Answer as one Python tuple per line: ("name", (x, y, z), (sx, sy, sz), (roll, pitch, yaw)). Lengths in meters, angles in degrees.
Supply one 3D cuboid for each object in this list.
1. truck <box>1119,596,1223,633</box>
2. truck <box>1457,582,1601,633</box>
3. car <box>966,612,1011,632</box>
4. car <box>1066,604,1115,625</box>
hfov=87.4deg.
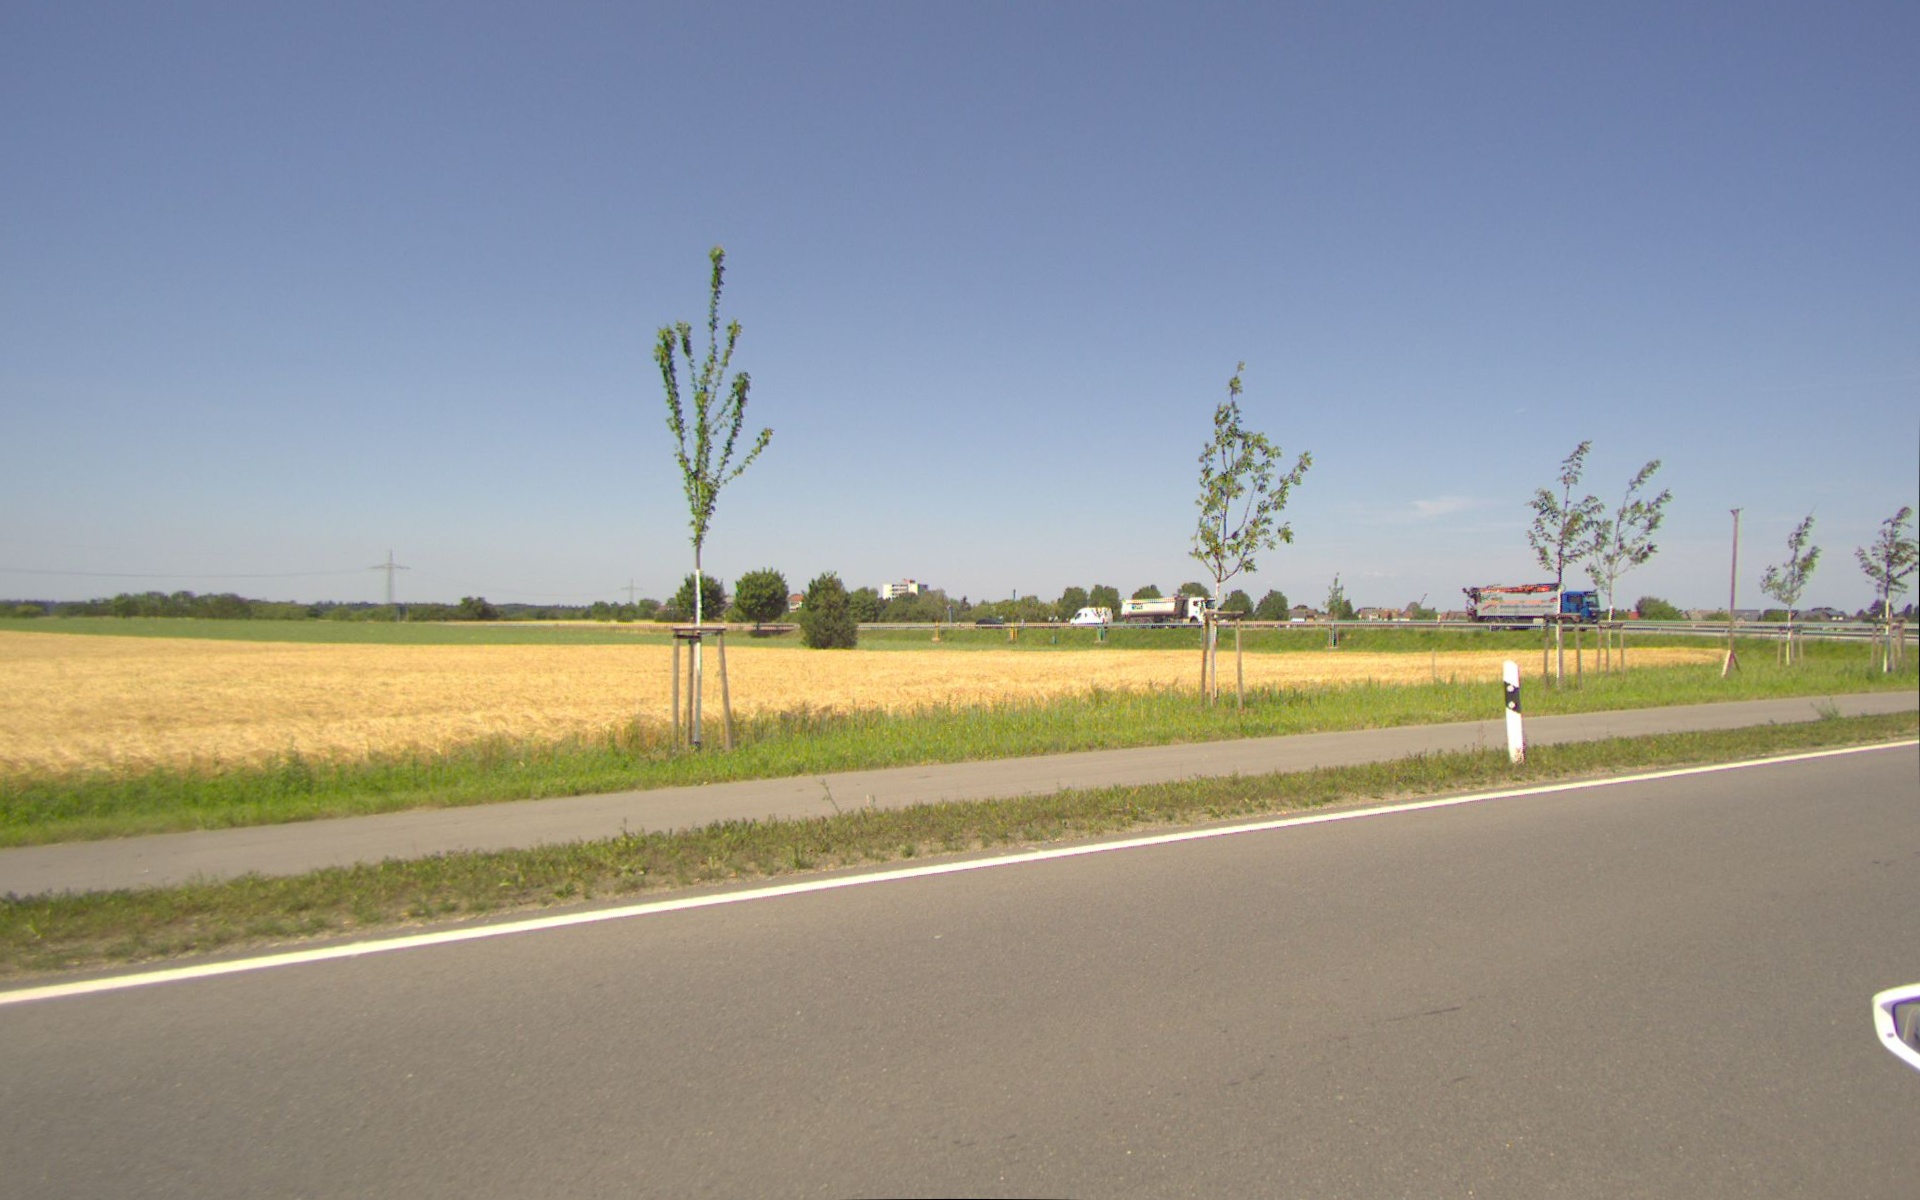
("truck", (22.426, 1.467, 107.700), (2.956, 3.663, 11.897), (0, 0, -38))
("truck", (45.401, 0.588, 80.599), (2.597, 3.844, 10.023), (0, 0, -32))
("car", (3.649, 2.787, 130.441), (2.535, 2.454, 5.867), (1, 0, -40))
("car", (16.178, 1.755, 124.736), (5.850, 2.454, 2.236), (1, 0, 41))
